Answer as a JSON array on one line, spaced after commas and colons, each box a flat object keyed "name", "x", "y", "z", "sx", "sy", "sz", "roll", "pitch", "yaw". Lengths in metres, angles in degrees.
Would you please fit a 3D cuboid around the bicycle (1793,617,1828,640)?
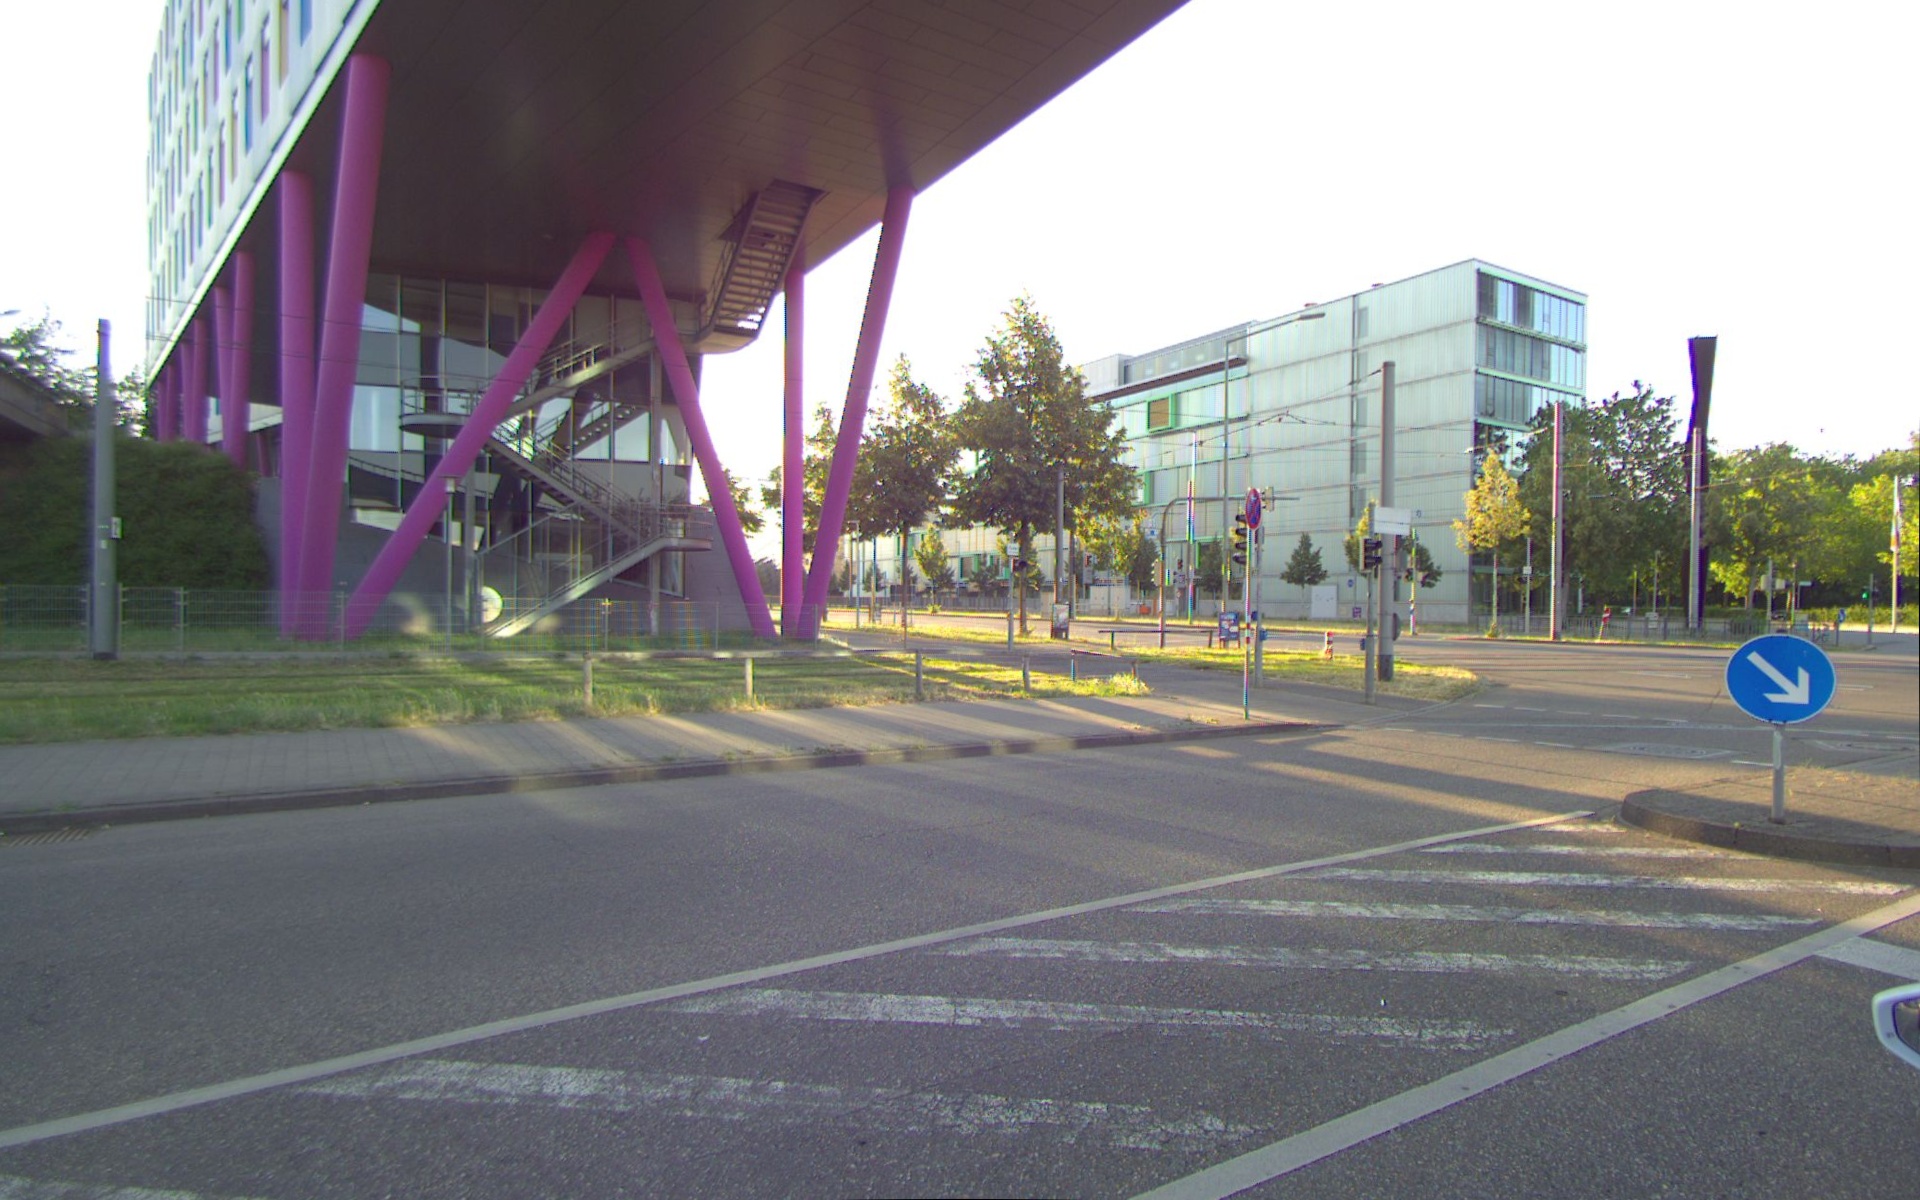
[{"name": "bicycle", "x": 43.792, "y": 1.479, "z": 51.704, "sx": 2.367, "sy": 1.151, "sz": 0.695, "roll": 1, "pitch": 0, "yaw": -33}]
